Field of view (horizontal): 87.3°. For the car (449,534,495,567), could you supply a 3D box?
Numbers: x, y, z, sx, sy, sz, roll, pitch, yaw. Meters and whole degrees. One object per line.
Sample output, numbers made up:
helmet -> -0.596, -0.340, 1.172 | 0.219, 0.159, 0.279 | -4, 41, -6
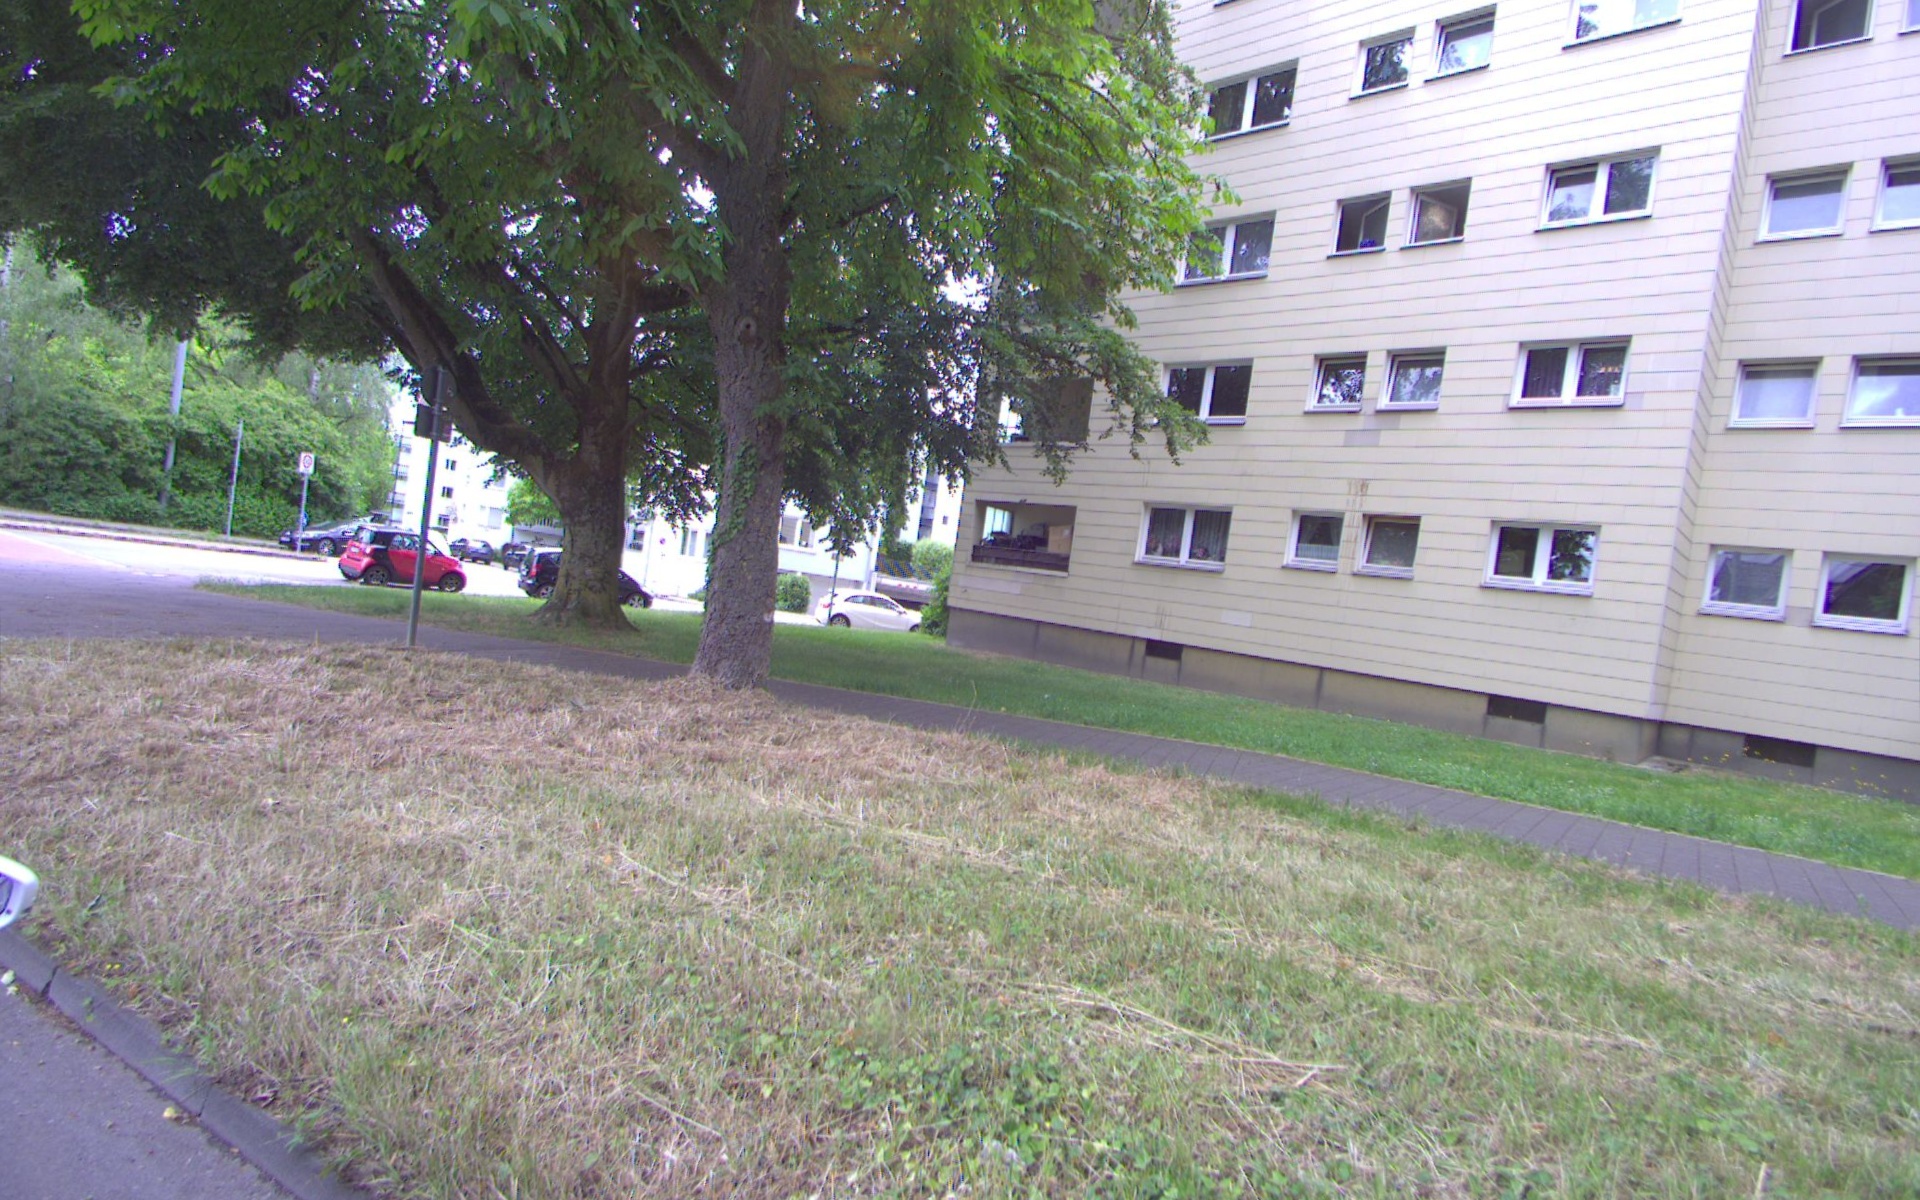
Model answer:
car -> -30.128, -3.074, 62.023 | 1.713, 1.631, 3.813 | 6, 1, -38

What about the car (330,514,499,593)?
car -> -14.538, -1.208, 26.949 | 1.702, 1.631, 3.516 | 8, 1, 37

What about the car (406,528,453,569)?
car -> -24.891, -2.443, 47.183 | 1.709, 1.631, 3.823 | 6, 1, -30

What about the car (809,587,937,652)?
car -> -2.897, 0.631, 33.313 | 3.796, 1.631, 1.721 | 7, 1, -18

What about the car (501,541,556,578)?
car -> -23.202, -2.199, 54.071 | 1.713, 1.631, 3.813 | 6, 1, -38

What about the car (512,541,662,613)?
car -> -11.069, -0.675, 29.924 | 3.814, 1.631, 1.713 | 6, 1, -33

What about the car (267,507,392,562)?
car -> -23.414, -2.405, 37.432 | 1.702, 1.549, 3.515 | 8, 1, 38
